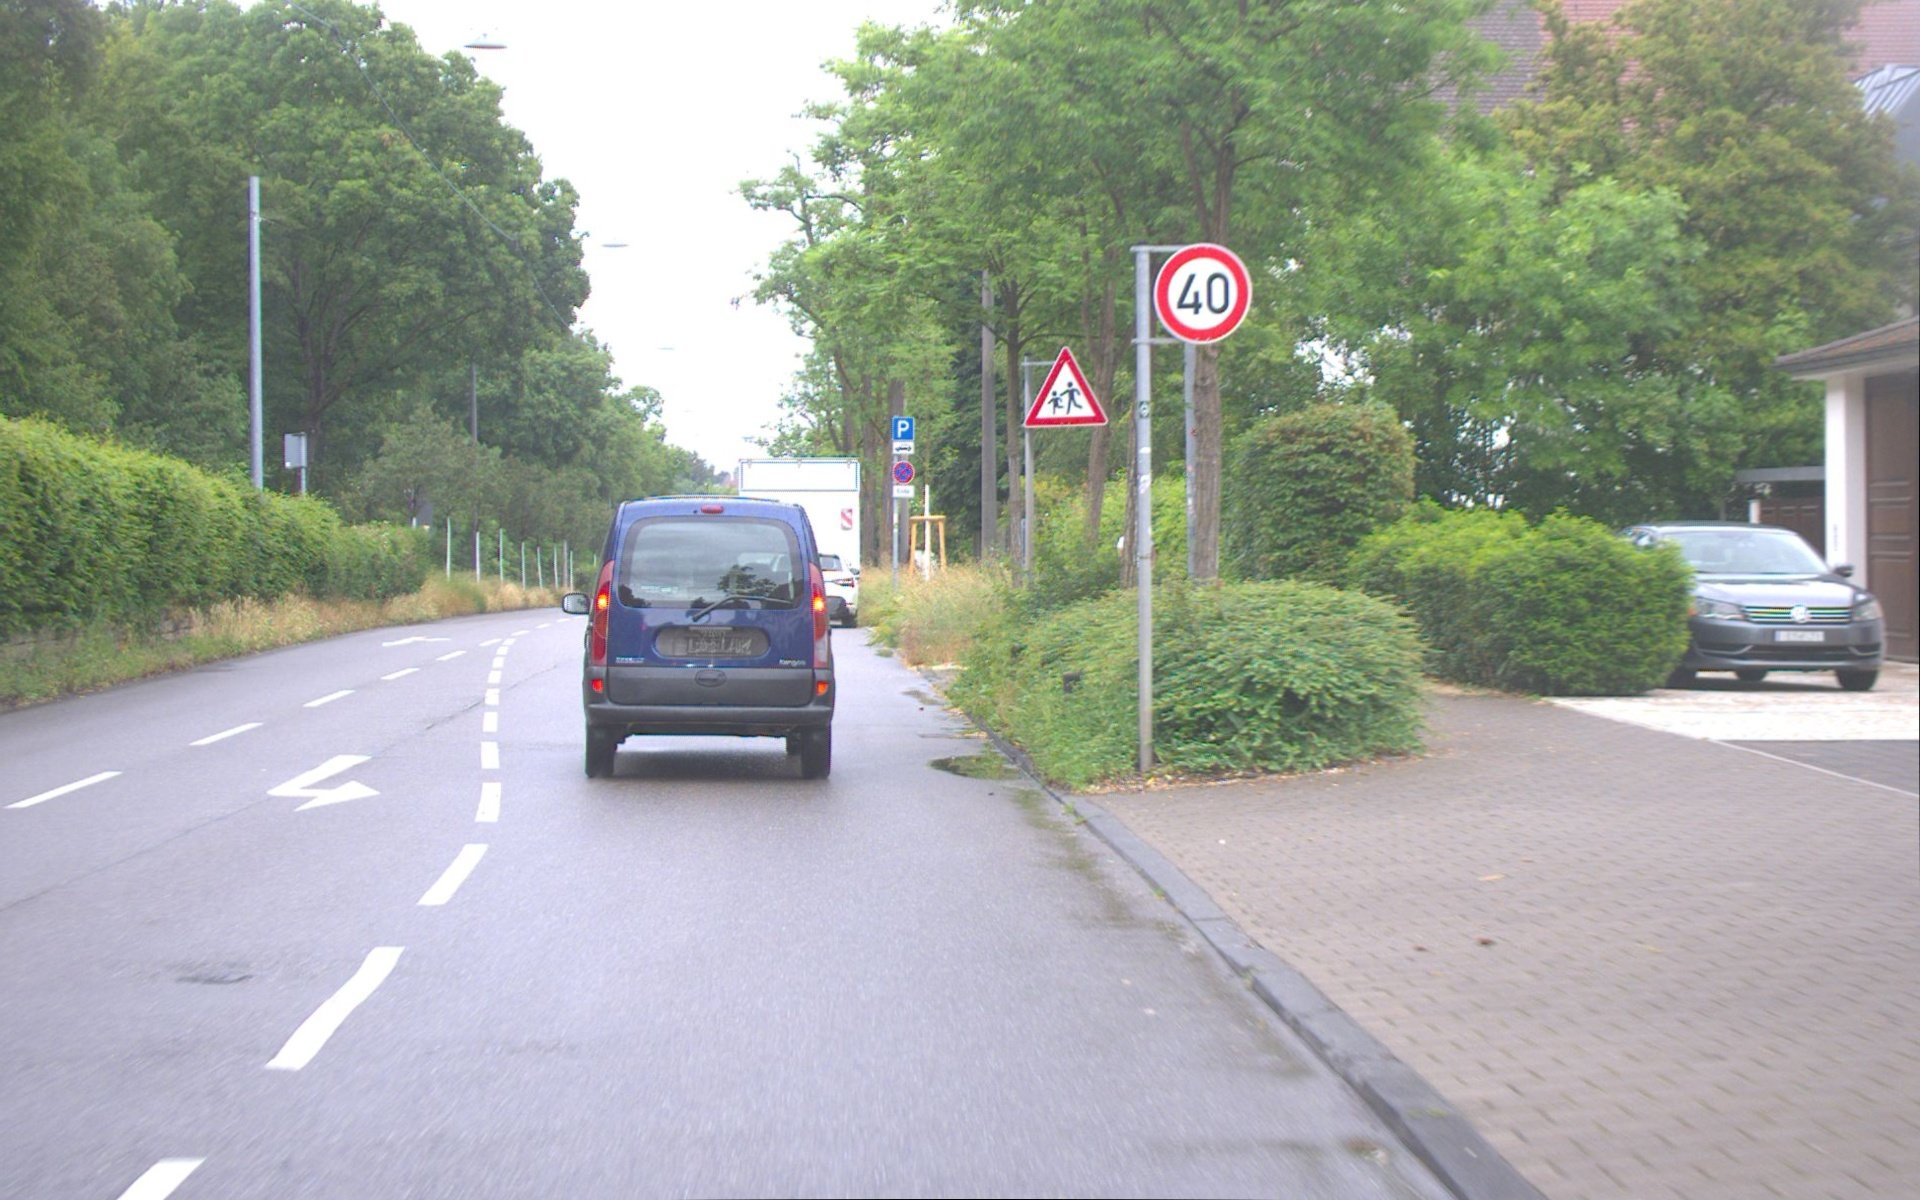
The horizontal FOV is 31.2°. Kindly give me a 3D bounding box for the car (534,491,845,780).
[{"bbox_3d":[-1.940,0.189,23.609,1.808,1.791,4.001,-1,1,-9],"label":"car"}]

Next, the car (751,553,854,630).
[{"bbox_3d":[-2.989,-0.186,64.609,1.813,1.376,4.285,-1,1,-4],"label":"car"}]

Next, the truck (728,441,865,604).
[{"bbox_3d":[-3.648,-1.683,75.242,2.731,3.375,6.686,-1,1,-5],"label":"truck"}]

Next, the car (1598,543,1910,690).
[{"bbox_3d":[6.895,0.104,30.246,1.831,1.172,4.000,1,1,1],"label":"car"}]

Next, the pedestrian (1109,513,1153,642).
[{"bbox_3d":[2.276,-0.299,45.813,0.561,1.702,0.516,0,1,6],"label":"pedestrian"}]
